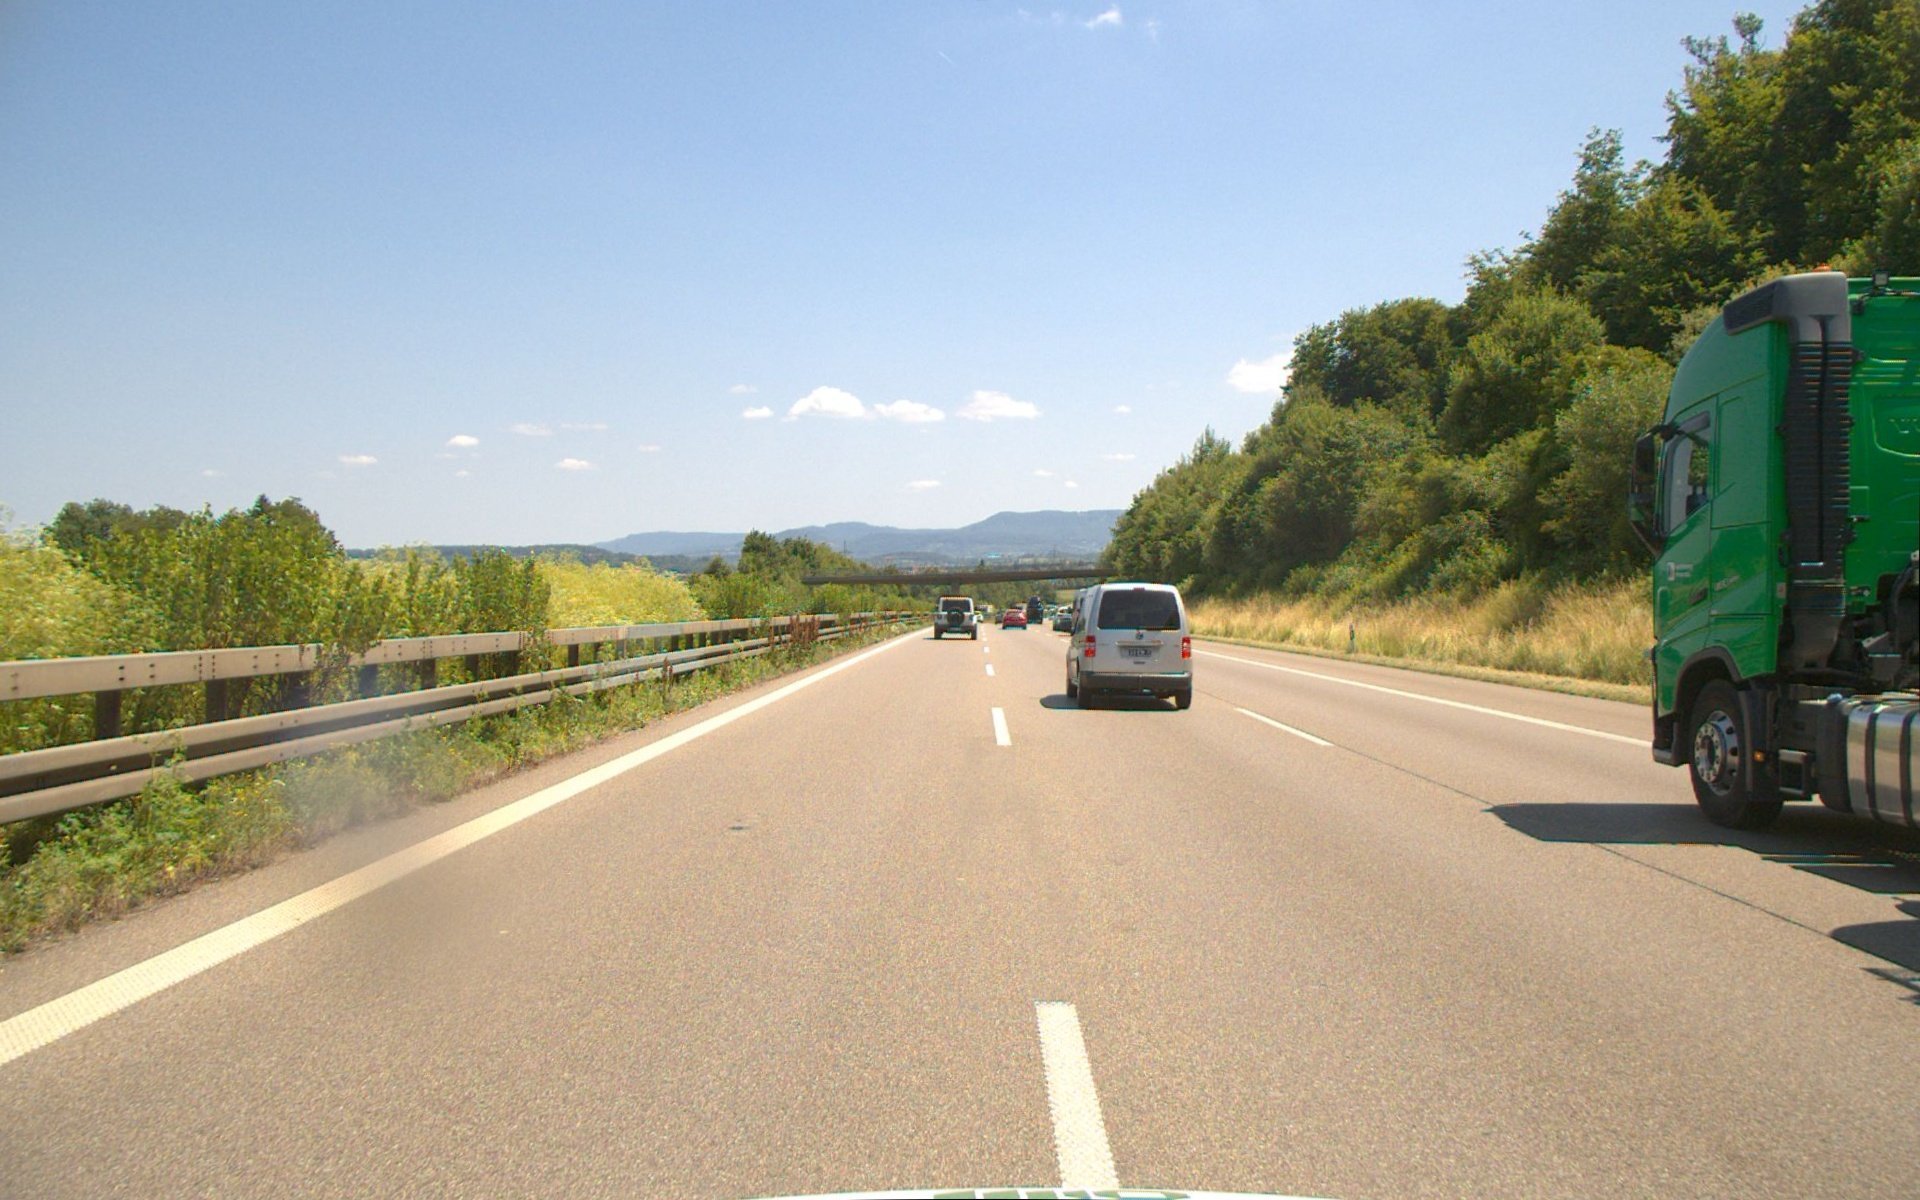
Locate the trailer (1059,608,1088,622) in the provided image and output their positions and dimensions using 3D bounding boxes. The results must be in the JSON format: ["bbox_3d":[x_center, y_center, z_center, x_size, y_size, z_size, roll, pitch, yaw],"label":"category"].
[{"bbox_3d":[7.844,1.034,114.535,1.718,0.924,4.319,1,0,-1],"label":"trailer"}]

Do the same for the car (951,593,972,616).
[{"bbox_3d":[0.119,0.421,157.568,1.952,2.049,4.000,1,0,0],"label":"car"}]

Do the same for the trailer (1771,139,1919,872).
[{"bbox_3d":[6.586,-0.492,5.662,2.534,4.098,10.471,1,0,1],"label":"trailer"}]

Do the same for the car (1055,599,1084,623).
[{"bbox_3d":[7.829,0.781,118.902,1.745,1.679,4.403,1,0,0],"label":"car"}]

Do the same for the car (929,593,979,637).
[{"bbox_3d":[-0.224,0.658,74.775,2.040,1.861,4.755,1,0,2],"label":"car"}]

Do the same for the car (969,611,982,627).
[{"bbox_3d":[2.125,2.492,221.102,1.663,2.049,3.823,1,0,1],"label":"car"}]

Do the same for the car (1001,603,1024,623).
[{"bbox_3d":[3.865,0.934,122.190,1.651,1.403,3.949,1,0,1],"label":"car"}]

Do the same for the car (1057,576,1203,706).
[{"bbox_3d":[2.612,0.573,26.389,1.710,1.861,4.800,1,0,-1],"label":"car"}]

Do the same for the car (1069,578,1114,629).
[{"bbox_3d":[7.148,0.165,90.185,2.046,2.621,6.623,1,0,1],"label":"car"}]

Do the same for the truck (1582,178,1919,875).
[{"bbox_3d":[6.577,-0.423,11.651,2.458,3.909,4.892,1,0,-1],"label":"truck"}]

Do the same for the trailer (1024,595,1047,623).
[{"bbox_3d":[11.804,1.375,257.794,2.795,4.063,15.407,1,0,6],"label":"trailer"}]
